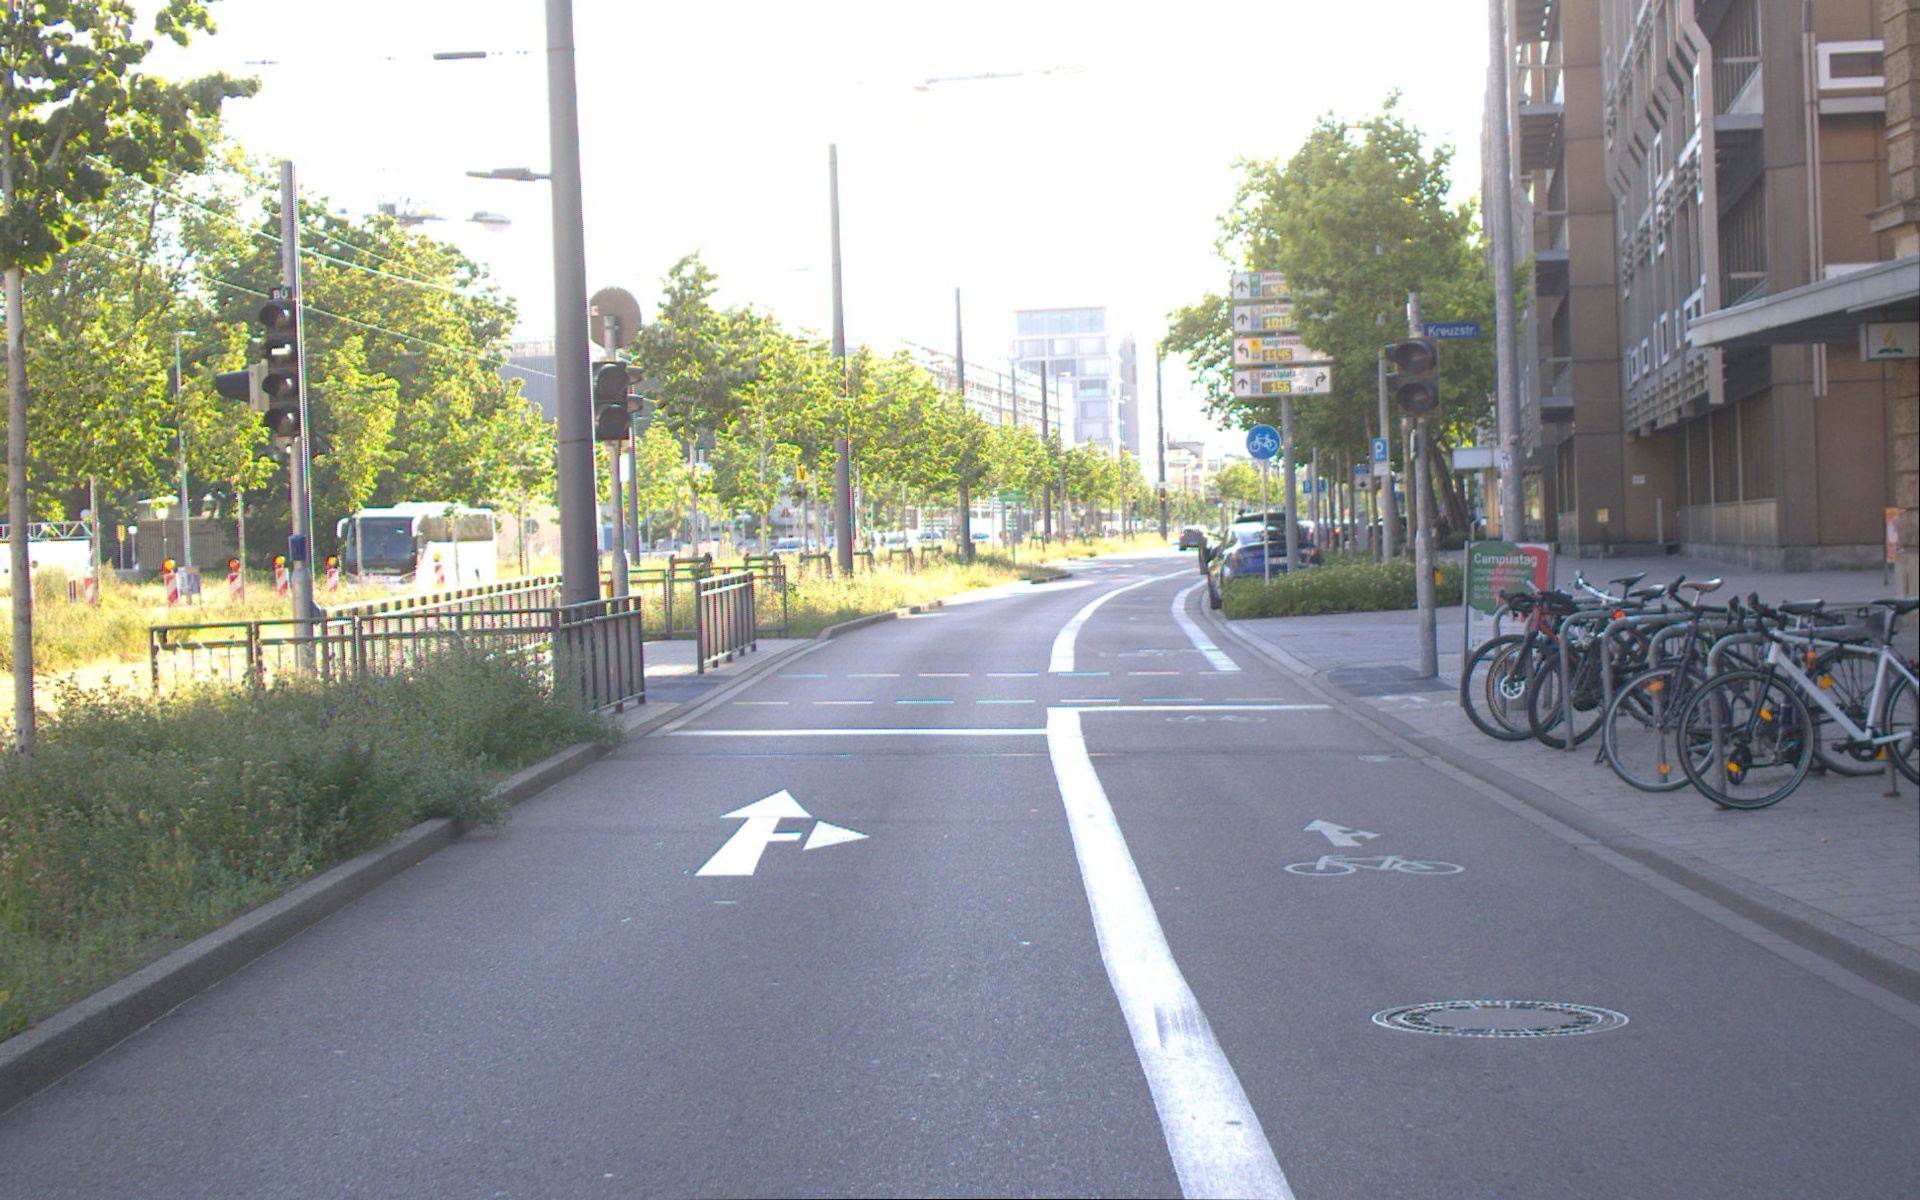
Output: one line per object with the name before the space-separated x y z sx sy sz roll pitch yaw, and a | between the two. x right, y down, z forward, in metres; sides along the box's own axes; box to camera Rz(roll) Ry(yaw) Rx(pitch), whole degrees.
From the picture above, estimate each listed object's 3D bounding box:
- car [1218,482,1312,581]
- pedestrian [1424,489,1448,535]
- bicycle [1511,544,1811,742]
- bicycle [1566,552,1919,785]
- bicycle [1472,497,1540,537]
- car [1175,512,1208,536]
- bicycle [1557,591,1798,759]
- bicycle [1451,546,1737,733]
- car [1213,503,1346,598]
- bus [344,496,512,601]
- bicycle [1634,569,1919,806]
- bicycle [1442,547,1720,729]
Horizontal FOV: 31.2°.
car | 6.366 -1.453 72.149 1.735 1.912 4.393 -3 1 3
pedestrian | 17.316 -3.192 125.112 0.789 1.642 1.136 -2 1 7
bicycle | 4.372 0.264 21.519 1.722 1.100 0.507 -4 1 5
bicycle | 4.239 0.360 18.424 1.844 1.100 0.566 -4 1 5
bicycle | 16.236 -2.460 102.227 1.899 1.089 0.392 -3 1 1
car | 13.890 -4.555 206.353 1.777 1.423 3.999 0 2 7
bicycle | 4.179 0.436 20.078 1.275 0.874 0.507 -4 1 5
bicycle | 4.194 0.259 22.802 1.754 1.100 0.507 -4 1 5
car | 5.955 -0.942 64.481 1.931 1.593 4.699 -4 1 0
bus | -19.280 -1.940 125.630 2.799 3.582 12.696 -1 1 6
bicycle | 4.294 0.411 16.914 1.805 1.044 0.566 -4 1 5
bicycle | 4.211 0.254 23.393 1.754 1.100 0.507 -4 1 5
